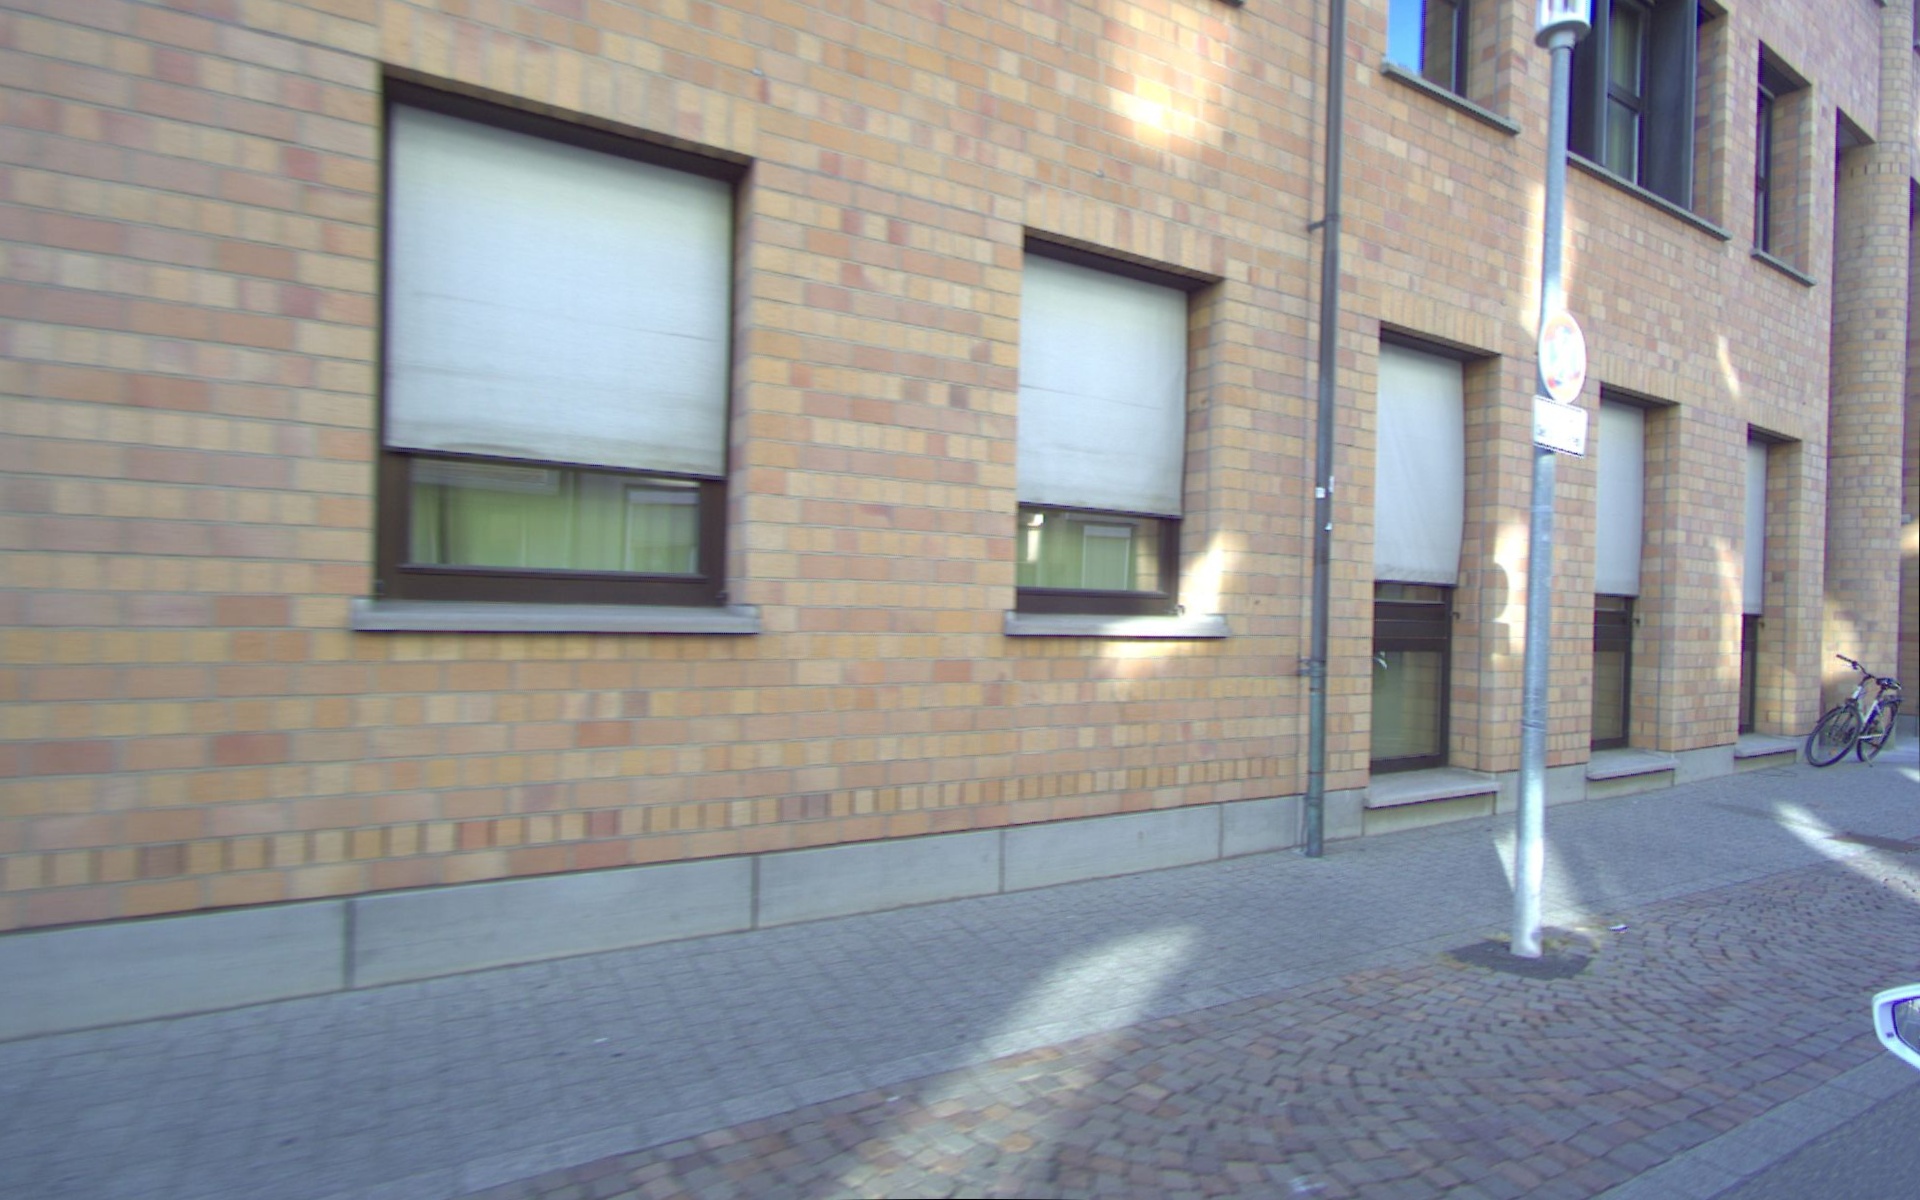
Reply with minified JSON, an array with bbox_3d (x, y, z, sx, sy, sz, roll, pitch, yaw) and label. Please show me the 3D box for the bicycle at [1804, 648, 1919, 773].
[{"bbox_3d":[9.884,1.164,10.988,1.789,1.178,0.626,1,3,-40],"label":"bicycle"}]
